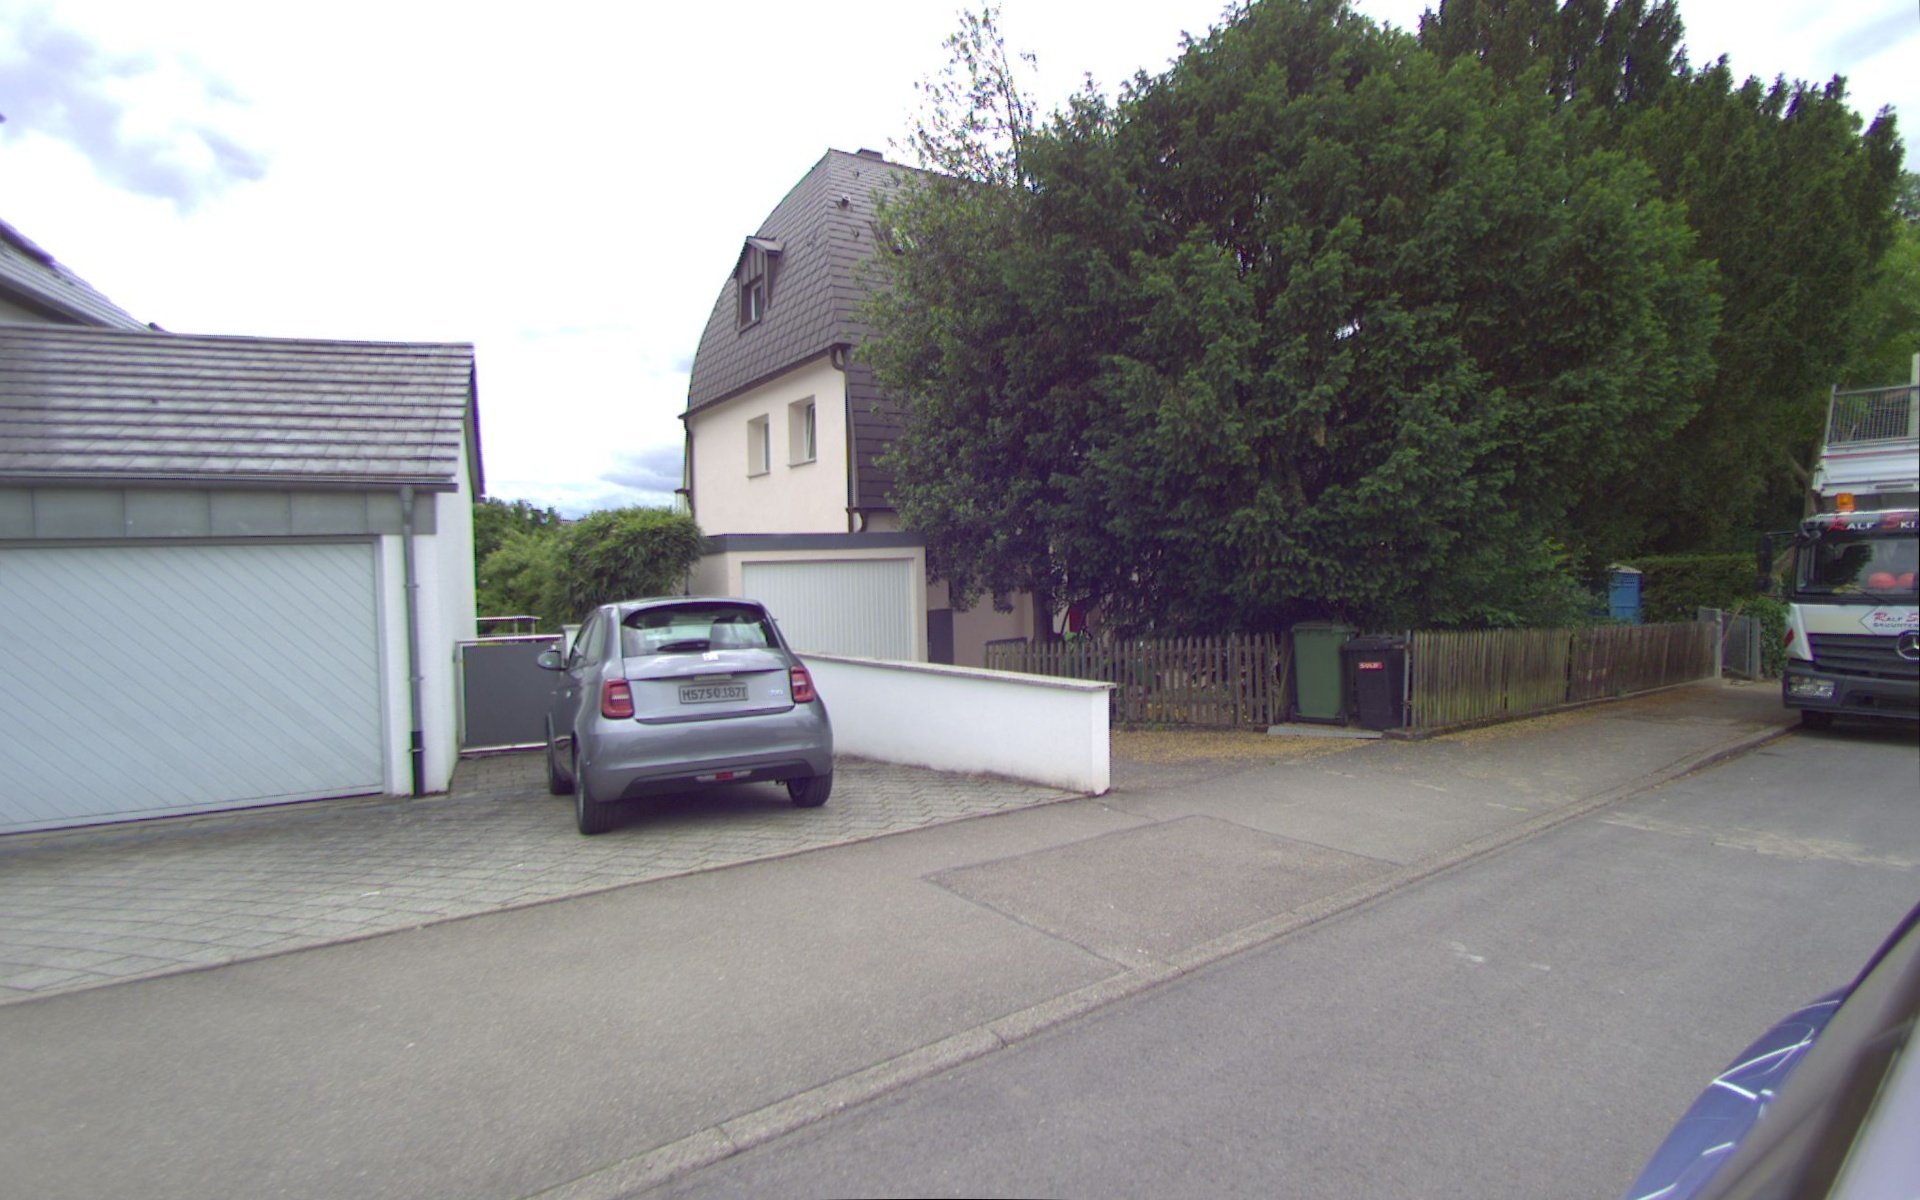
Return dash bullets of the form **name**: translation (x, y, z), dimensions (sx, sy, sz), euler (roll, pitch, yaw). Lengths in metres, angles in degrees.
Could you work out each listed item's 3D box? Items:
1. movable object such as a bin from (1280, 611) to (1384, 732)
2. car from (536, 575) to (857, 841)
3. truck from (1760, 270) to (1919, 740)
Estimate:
- **movable object such as a bin**: translation (3.890, 0.738, 10.577), dimensions (0.688, 1.170, 0.755), euler (-8, -5, 40)
- **car**: translation (-2.329, 0.722, 8.044), dimensions (1.752, 1.491, 4.004), euler (-2, -2, -25)
- **truck**: translation (12.468, -0.988, 12.646), dimensions (7.060, 4.808, 2.529), euler (0, 0, -40)
